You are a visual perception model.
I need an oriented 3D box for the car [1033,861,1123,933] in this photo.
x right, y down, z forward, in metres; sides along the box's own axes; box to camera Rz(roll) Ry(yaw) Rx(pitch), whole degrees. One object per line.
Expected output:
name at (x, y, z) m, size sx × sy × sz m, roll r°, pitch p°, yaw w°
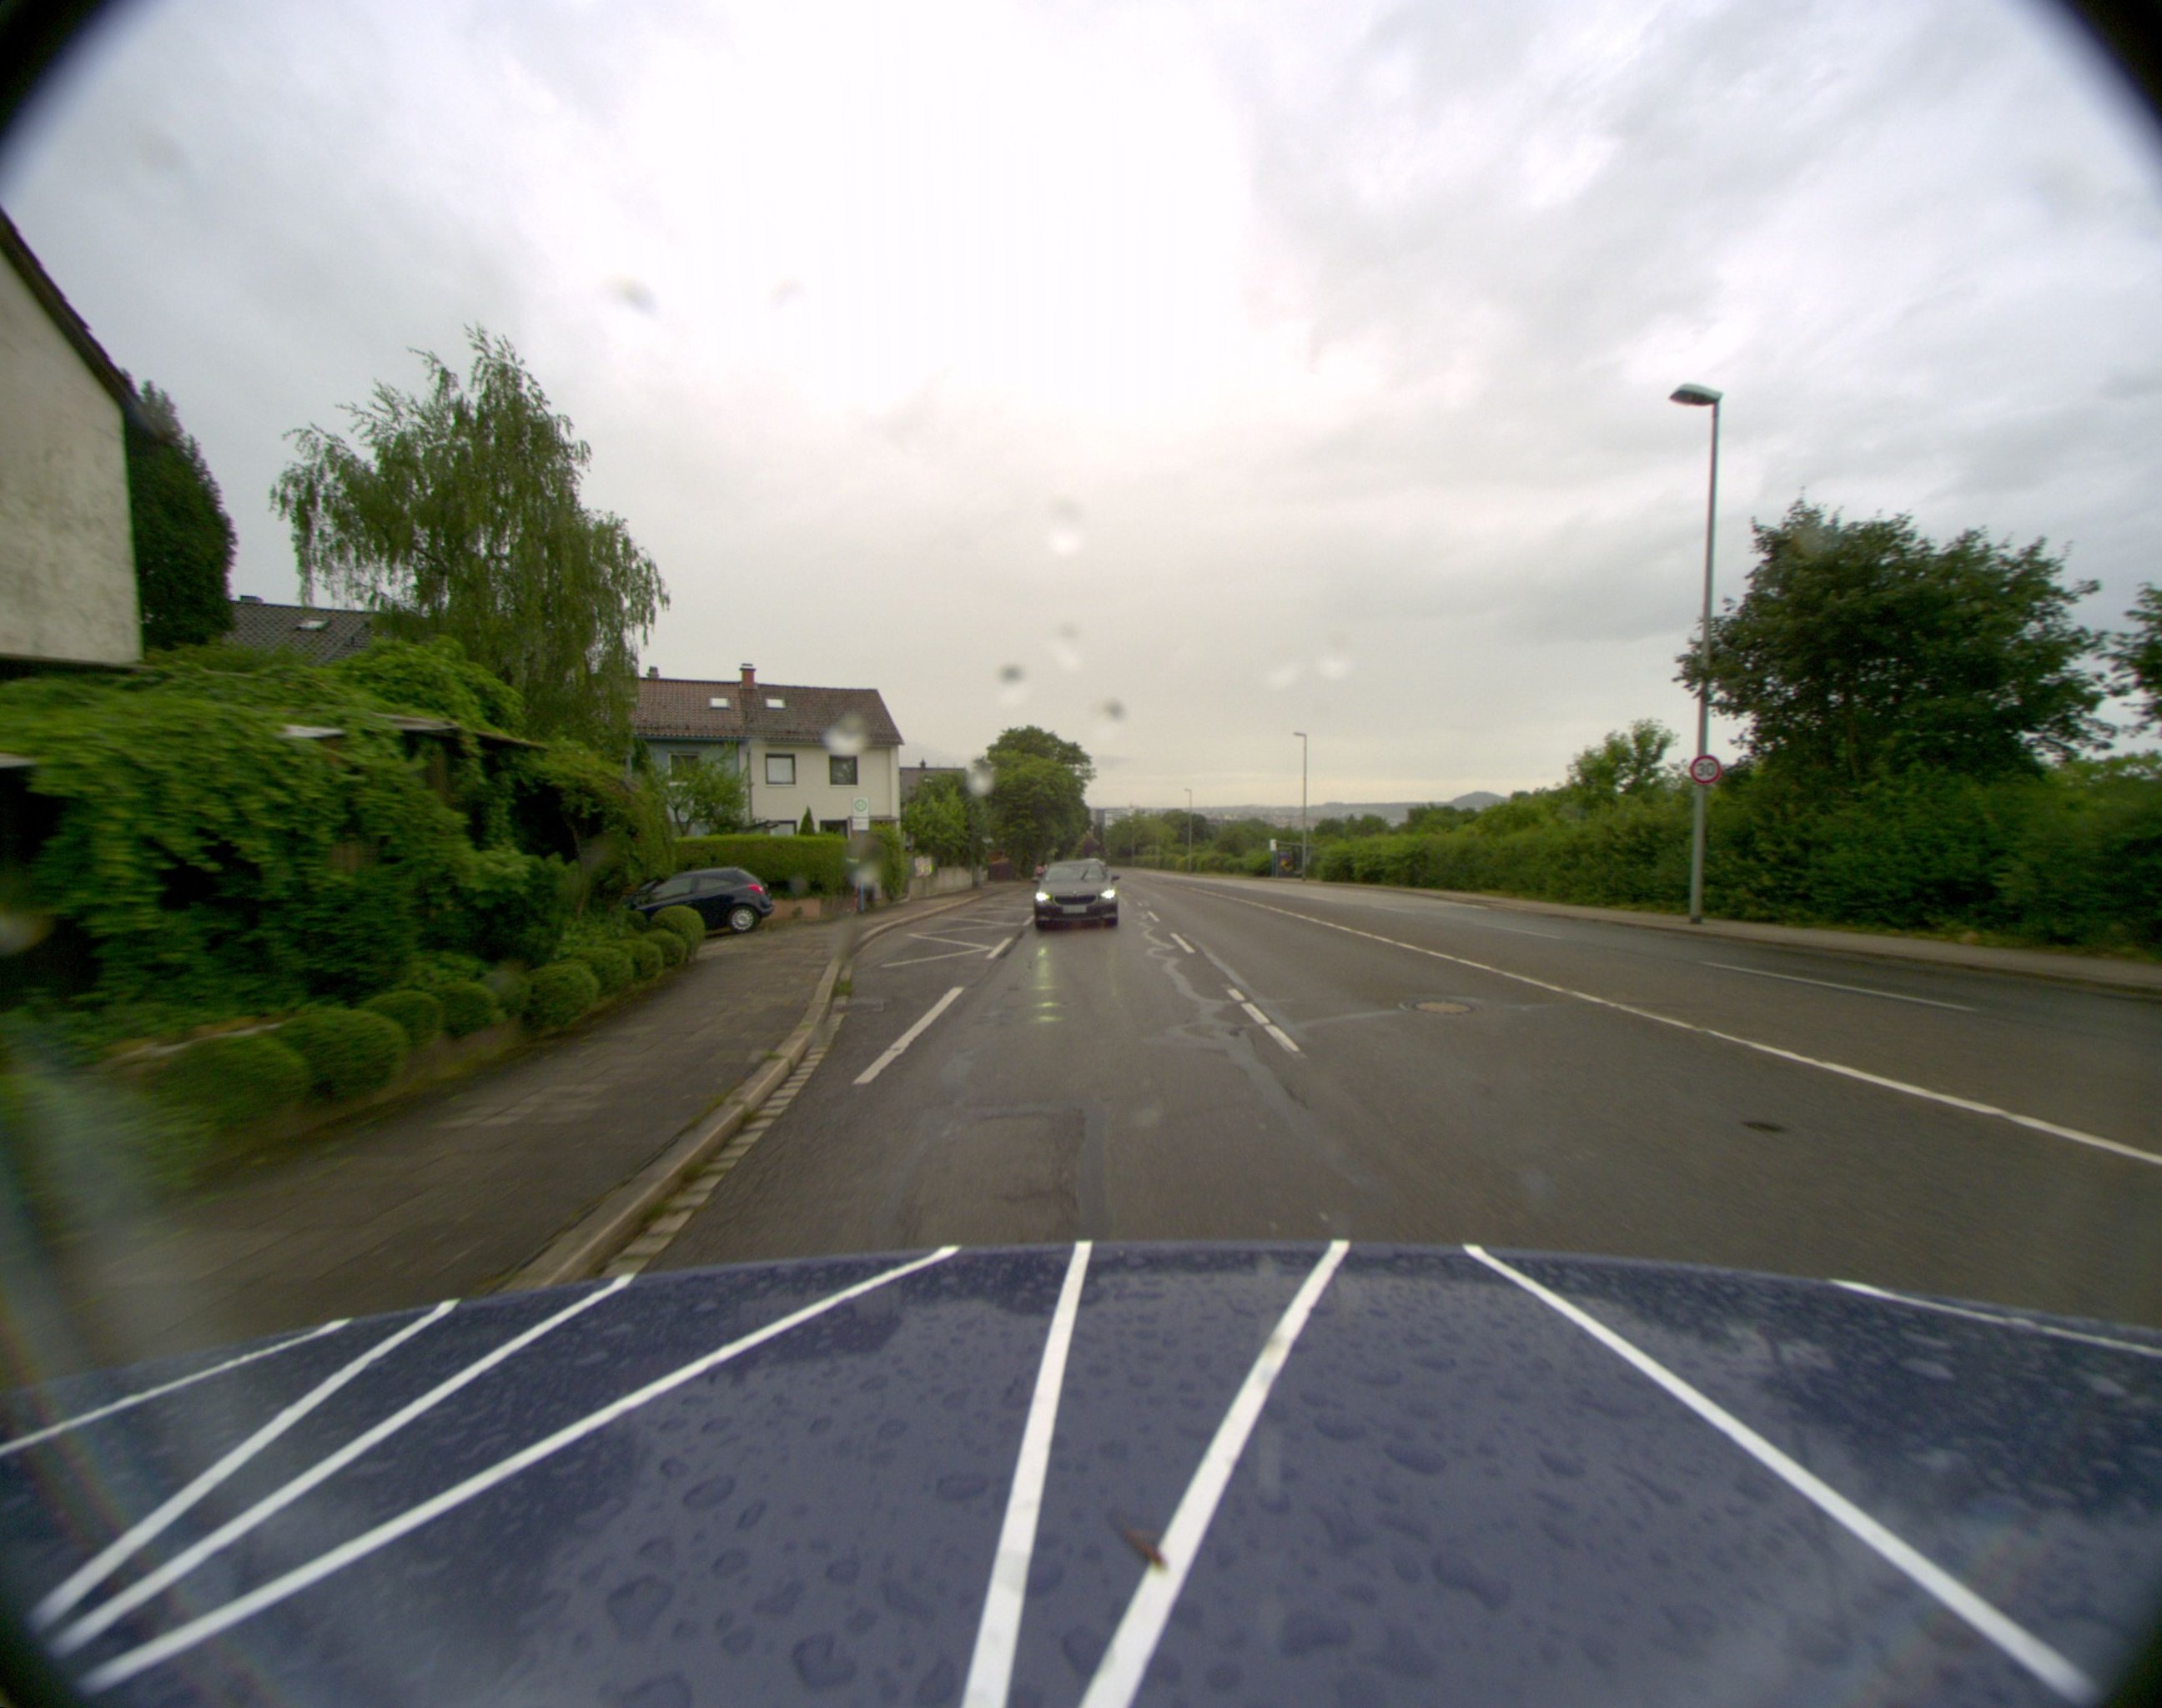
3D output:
car at (-0.167, 0.943, 18.439) m, size 1.846 × 1.370 × 4.281 m, roll -3°, pitch 1°, yaw -3°

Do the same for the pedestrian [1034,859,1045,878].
pedestrian at (-2.899, 1.038, 53.488) m, size 0.603 × 1.347 × 0.646 m, roll -1°, pitch 0°, yaw 9°

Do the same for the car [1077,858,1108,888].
car at (0.646, 0.960, 40.462) m, size 1.550 × 1.505 × 4.284 m, roll 0°, pitch 0°, yaw 2°

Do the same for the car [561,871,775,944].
car at (-8.384, 1.036, 15.795) m, size 3.712 × 1.290 × 1.769 m, roll 0°, pitch 0°, yaw -23°

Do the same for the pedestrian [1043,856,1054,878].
pedestrian at (-2.291, 0.915, 53.394) m, size 0.611 × 1.584 × 0.646 m, roll -1°, pitch 0°, yaw 9°

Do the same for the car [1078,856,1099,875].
car at (0.623, 1.054, 69.100) m, size 1.703 × 1.670 × 4.282 m, roll -1°, pitch 0°, yaw -2°
